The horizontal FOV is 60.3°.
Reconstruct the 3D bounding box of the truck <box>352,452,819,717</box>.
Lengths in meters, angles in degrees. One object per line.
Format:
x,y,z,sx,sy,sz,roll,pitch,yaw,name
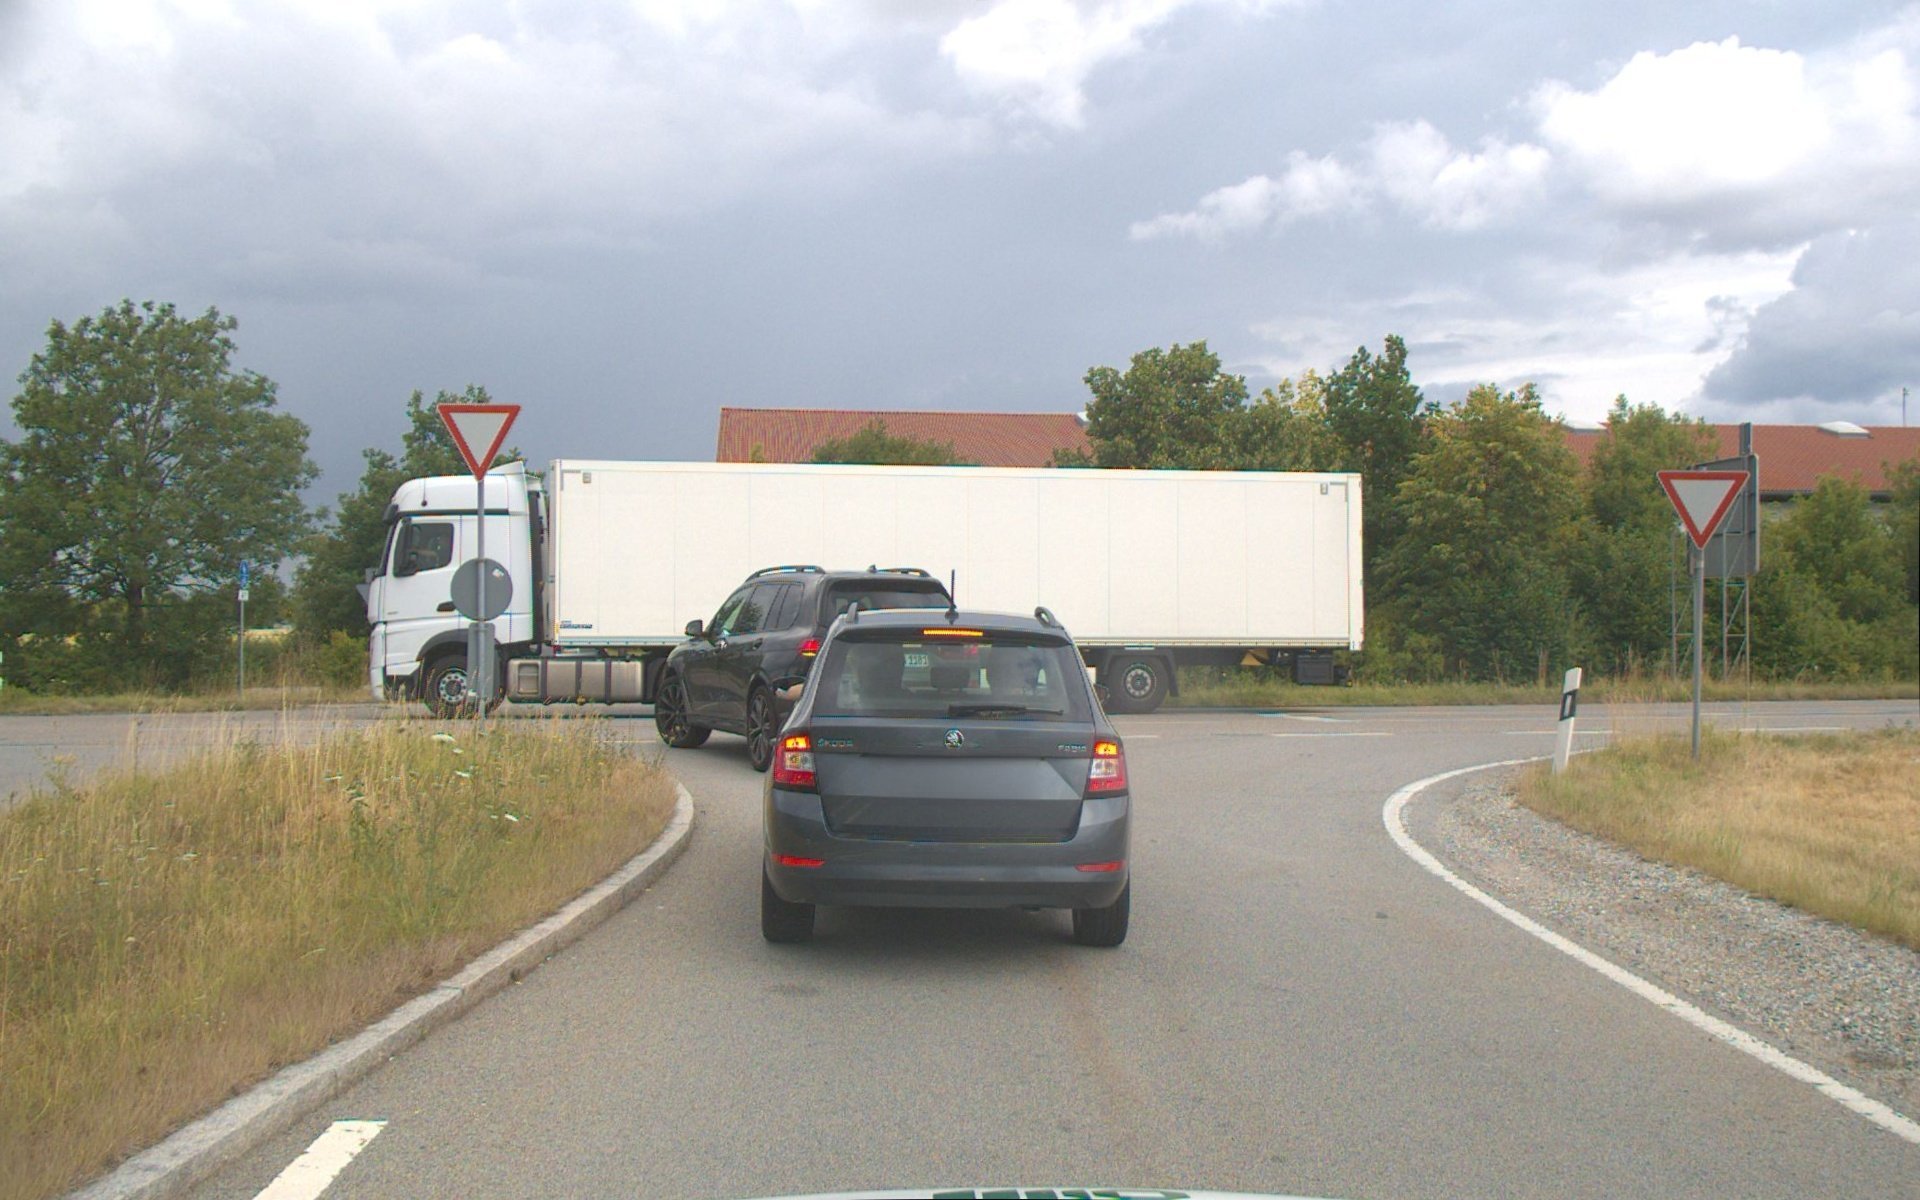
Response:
-6.001,-0.209,27.504,7.147,4.085,3.123,0,-2,-8,truck

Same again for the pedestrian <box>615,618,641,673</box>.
-10.400,1.428,51.786,0.571,1.712,0.566,-1,0,19,pedestrian

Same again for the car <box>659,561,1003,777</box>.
-1.453,0.623,16.383,1.968,1.806,4.608,0,-1,-24,car

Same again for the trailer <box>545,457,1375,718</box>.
0.037,-0.177,28.390,13.582,4.085,3.122,0,-2,-8,trailer

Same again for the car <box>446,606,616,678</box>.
-13.104,1.238,50.443,4.810,2.049,2.337,-1,1,32,car

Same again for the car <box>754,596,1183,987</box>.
-0.068,0.740,8.237,1.643,1.488,3.705,1,0,-3,car

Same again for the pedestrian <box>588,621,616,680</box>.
-10.837,1.525,50.037,0.519,1.756,0.640,-1,0,31,pedestrian
